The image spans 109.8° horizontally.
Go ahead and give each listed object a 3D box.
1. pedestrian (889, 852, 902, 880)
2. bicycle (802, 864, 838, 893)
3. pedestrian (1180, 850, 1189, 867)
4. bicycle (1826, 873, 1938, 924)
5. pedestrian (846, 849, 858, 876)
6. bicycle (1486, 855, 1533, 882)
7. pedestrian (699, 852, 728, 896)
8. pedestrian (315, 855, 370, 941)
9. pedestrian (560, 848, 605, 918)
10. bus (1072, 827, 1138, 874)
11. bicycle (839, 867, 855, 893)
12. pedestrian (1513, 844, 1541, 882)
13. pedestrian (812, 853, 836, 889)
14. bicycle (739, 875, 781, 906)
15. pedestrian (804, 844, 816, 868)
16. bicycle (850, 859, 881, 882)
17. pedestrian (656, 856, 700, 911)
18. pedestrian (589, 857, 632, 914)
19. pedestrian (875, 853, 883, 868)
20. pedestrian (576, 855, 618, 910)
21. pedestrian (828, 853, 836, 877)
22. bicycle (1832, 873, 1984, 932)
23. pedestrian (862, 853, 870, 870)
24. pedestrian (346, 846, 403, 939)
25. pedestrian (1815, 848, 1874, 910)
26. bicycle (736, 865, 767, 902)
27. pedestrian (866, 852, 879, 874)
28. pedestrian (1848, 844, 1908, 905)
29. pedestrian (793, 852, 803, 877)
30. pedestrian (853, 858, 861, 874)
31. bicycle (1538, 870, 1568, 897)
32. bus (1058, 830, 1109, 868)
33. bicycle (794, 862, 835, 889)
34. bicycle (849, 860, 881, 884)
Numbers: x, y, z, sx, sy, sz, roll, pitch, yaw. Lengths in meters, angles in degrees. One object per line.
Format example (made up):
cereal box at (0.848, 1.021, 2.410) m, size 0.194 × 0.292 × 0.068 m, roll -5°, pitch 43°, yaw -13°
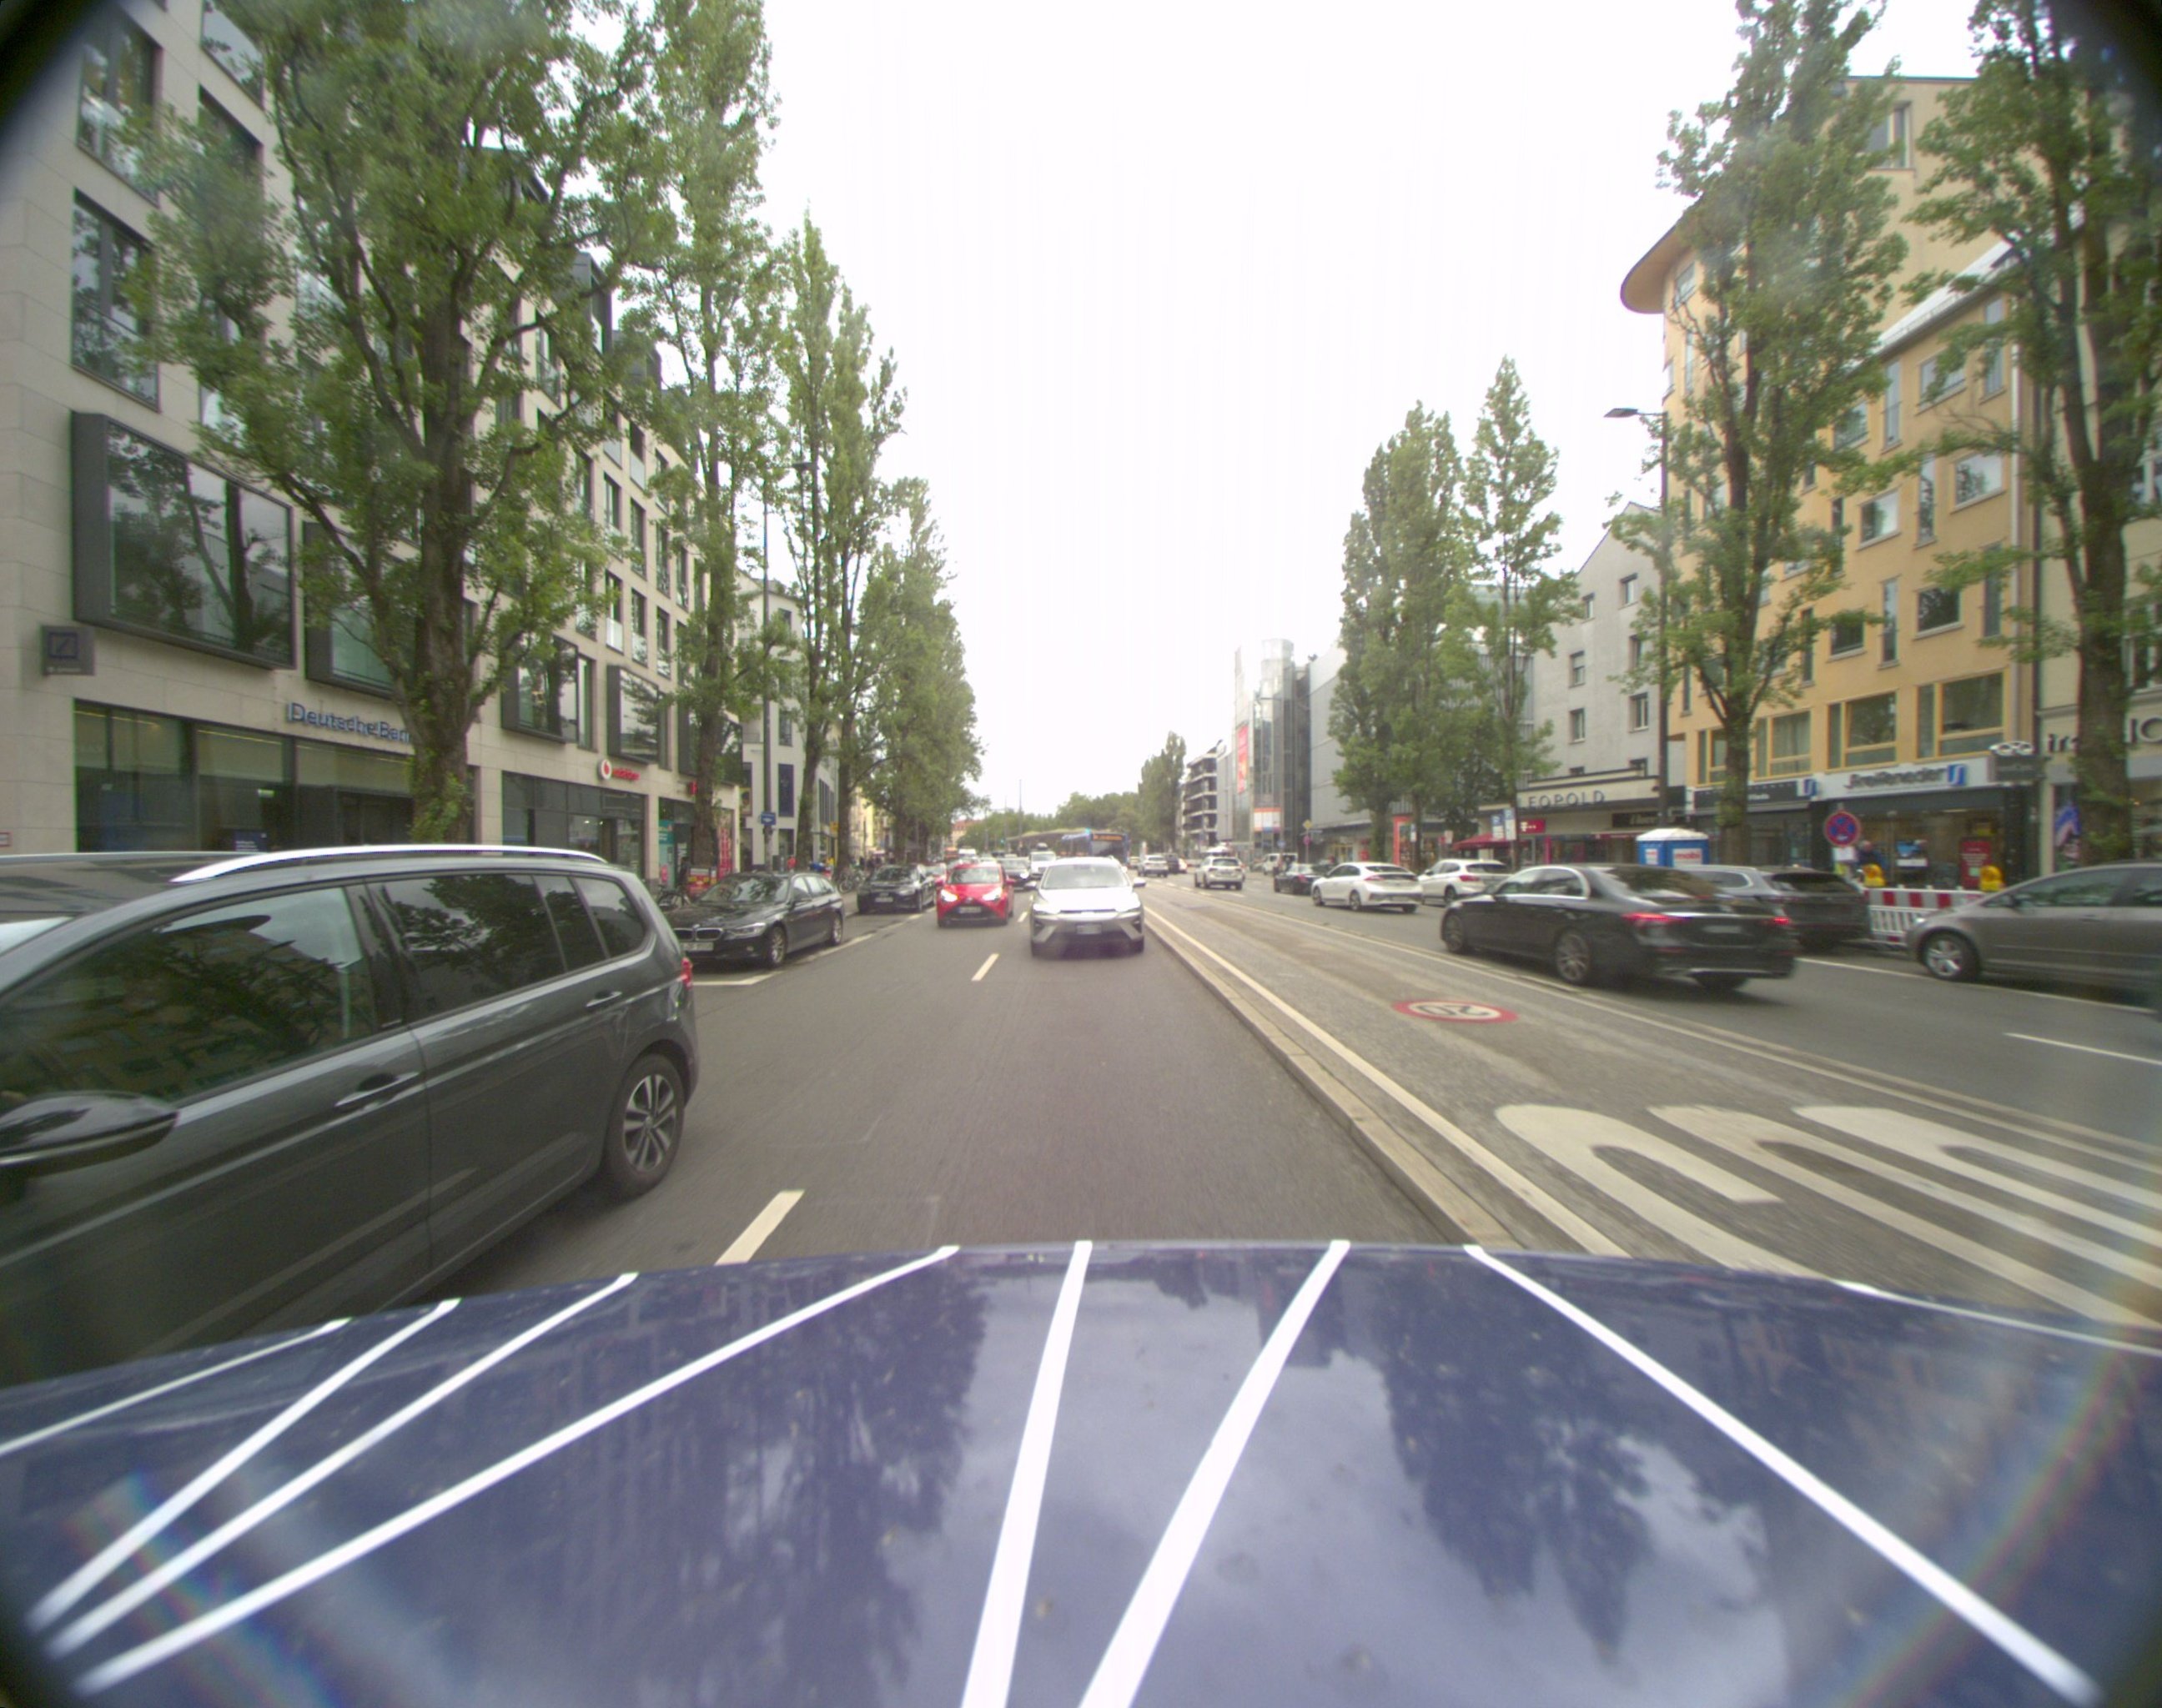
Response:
pedestrian at (-11.250, 0.743, 46.093) m, size 0.716 × 1.666 × 0.783 m, roll 1°, pitch 1°, yaw -7°
bicycle at (-11.099, 1.039, 32.358) m, size 0.546 × 1.182 × 1.457 m, roll 1°, pitch 1°, yaw 30°
pedestrian at (11.012, 0.482, 80.816) m, size 0.788 × 1.856 × 0.846 m, roll 0°, pitch 1°, yaw -3°
bicycle at (17.228, 0.947, 16.357) m, size 2.014 × 1.035 × 0.622 m, roll 0°, pitch 1°, yaw -9°
pedestrian at (-16.671, 0.622, 55.295) m, size 0.648 × 1.913 × 0.925 m, roll 1°, pitch 1°, yaw -7°
bicycle at (21.421, 0.714, 38.034) m, size 0.849 × 1.300 × 2.302 m, roll 0°, pitch 0°, yaw -6°
pedestrian at (-15.909, 0.859, 32.939) m, size 0.820 × 1.858 × 0.938 m, roll 1°, pitch 1°, yaw -3°
pedestrian at (-13.172, 0.768, 13.562) m, size 0.503 × 1.482 × 0.548 m, roll 0°, pitch 1°, yaw 26°
pedestrian at (-12.859, 0.731, 19.612) m, size 0.794 × 1.762 × 0.683 m, roll 1°, pitch 1°, yaw 29°
bus at (1.474, -0.296, 53.447) m, size 2.943 × 2.927 × 11.204 m, roll -1°, pitch 1°, yaw -7°
bicycle at (-9.944, 1.098, 32.283) m, size 0.644 × 1.057 × 1.769 m, roll 0°, pitch 0°, yaw -16°
pedestrian at (22.321, 0.428, 38.031) m, size 0.860 × 1.888 × 0.832 m, roll 0°, pitch 1°, yaw -6°
pedestrian at (-11.720, 0.755, 34.624) m, size 0.792 × 1.610 × 0.613 m, roll 1°, pitch 1°, yaw 15°
bicycle at (-10.422, 1.173, 24.705) m, size 0.434 × 0.935 × 1.763 m, roll 1°, pitch 0°, yaw 6°
pedestrian at (-18.216, 0.149, 51.050) m, size 0.548 × 1.615 × 0.508 m, roll -1°, pitch 2°, yaw 23°
bicycle at (-11.102, 0.855, 39.113) m, size 1.483 × 1.200 × 0.535 m, roll 0°, pitch 1°, yaw -7°
pedestrian at (-11.834, 0.857, 22.334) m, size 0.837 × 1.567 × 0.937 m, roll 0°, pitch 1°, yaw -7°
pedestrian at (-13.594, 0.889, 21.963) m, size 0.738 × 1.611 × 0.837 m, roll 0°, pitch 1°, yaw -5°
pedestrian at (-19.987, 0.652, 75.272) m, size 0.684 × 1.549 × 0.749 m, roll 0°, pitch 1°, yaw -10°
pedestrian at (-14.438, 0.832, 22.674) m, size 0.796 × 1.611 × 0.718 m, roll 0°, pitch 1°, yaw -3°
pedestrian at (-17.226, 0.755, 52.545) m, size 0.492 × 1.625 × 0.568 m, roll 0°, pitch 1°, yaw -18°
bicycle at (16.545, 0.949, 15.249) m, size 2.128 × 1.094 × 0.505 m, roll 1°, pitch 1°, yaw 14°
pedestrian at (-20.706, 0.701, 73.150) m, size 0.693 × 1.639 × 0.797 m, roll 0°, pitch 1°, yaw -12°
pedestrian at (-12.599, 0.669, 13.553) m, size 0.550 × 1.628 × 0.559 m, roll 0°, pitch 1°, yaw 26°
pedestrian at (20.727, 0.656, 20.630) m, size 0.842 × 1.616 × 0.763 m, roll -2°, pitch 2°, yaw -1°
bicycle at (-11.097, 0.966, 25.636) m, size 0.456 × 1.181 × 1.714 m, roll 0°, pitch 0°, yaw -6°
pedestrian at (-15.950, 0.681, 58.225) m, size 0.802 × 1.627 × 1.023 m, roll 0°, pitch 0°, yaw -8°
pedestrian at (21.712, 0.551, 20.705) m, size 0.842 × 1.616 × 0.763 m, roll -2°, pitch 2°, yaw -1°
pedestrian at (-18.537, 0.661, 49.771) m, size 0.550 × 1.615 × 0.506 m, roll -2°, pitch 2°, yaw -27°
pedestrian at (-21.695, 1.136, 73.685) m, size 0.693 × 1.576 × 0.772 m, roll 0°, pitch 1°, yaw -12°
bicycle at (18.203, 1.134, 29.320) m, size 0.293 × 0.970 × 1.479 m, roll 0°, pitch 0°, yaw 2°
bus at (0.051, -0.449, 65.317) m, size 2.943 × 2.927 × 11.204 m, roll -1°, pitch 1°, yaw -7°
bicycle at (-11.974, 0.974, 34.126) m, size 1.765 × 1.165 × 0.452 m, roll 0°, pitch 1°, yaw 15°
bicycle at (-10.927, 0.893, 38.519) m, size 1.483 × 1.200 × 0.535 m, roll 0°, pitch 1°, yaw -7°
